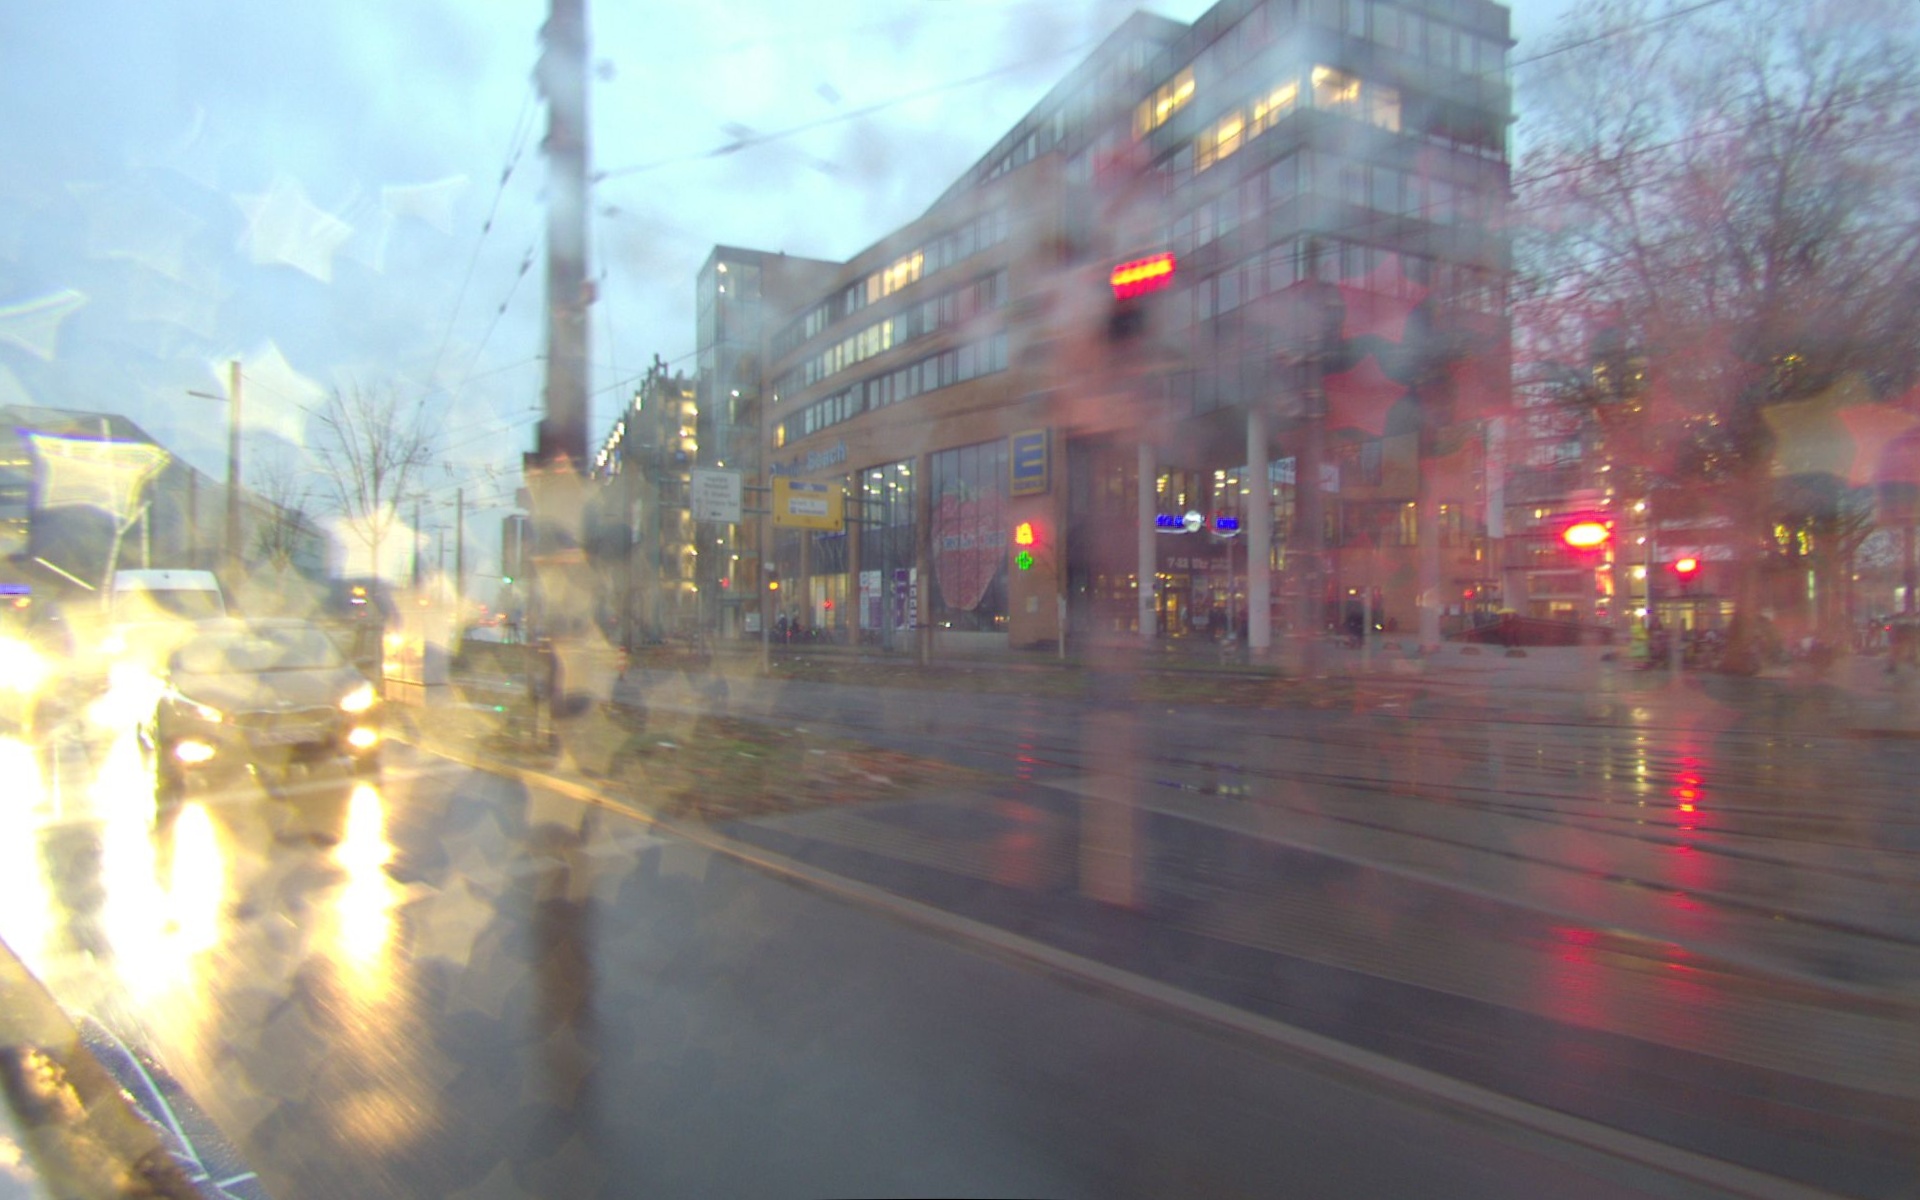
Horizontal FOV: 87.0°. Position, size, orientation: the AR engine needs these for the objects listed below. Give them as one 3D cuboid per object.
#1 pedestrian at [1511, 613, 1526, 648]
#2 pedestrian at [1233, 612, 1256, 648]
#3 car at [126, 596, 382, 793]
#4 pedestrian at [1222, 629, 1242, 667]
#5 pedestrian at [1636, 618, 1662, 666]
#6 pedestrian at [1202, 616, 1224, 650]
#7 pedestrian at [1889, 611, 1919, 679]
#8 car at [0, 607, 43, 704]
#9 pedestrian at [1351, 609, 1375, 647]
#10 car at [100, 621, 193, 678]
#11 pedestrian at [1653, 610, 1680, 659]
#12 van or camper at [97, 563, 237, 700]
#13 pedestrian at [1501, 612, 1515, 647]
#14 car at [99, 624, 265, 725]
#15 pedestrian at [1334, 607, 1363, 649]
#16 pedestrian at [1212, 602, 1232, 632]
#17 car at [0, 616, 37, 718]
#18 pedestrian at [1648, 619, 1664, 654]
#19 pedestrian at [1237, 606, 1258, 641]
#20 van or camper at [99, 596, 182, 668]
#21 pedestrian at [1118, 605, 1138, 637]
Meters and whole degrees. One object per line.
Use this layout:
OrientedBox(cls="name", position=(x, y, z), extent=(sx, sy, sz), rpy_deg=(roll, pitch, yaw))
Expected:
OrientedBox(cls="pedestrian", position=(28.055, 1.527, 50.841), extent=(0.644, 1.764, 0.446), rpy_deg=(1, -2, -43))
OrientedBox(cls="pedestrian", position=(13.216, 1.380, 46.981), extent=(0.729, 1.669, 0.695), rpy_deg=(1, -2, -34))
OrientedBox(cls="car", position=(-7.166, 0.809, 10.120), extent=(1.660, 1.585, 3.765), rpy_deg=(1, -2, -42))
OrientedBox(cls="pedestrian", position=(9.213, 1.620, 34.260), extent=(0.496, 1.274, 0.440), rpy_deg=(-1, 0, 43))
OrientedBox(cls="pedestrian", position=(24.672, 1.493, 36.249), extent=(0.592, 1.696, 0.559), rpy_deg=(-1, -1, 14))
OrientedBox(cls="pedestrian", position=(11.286, 1.456, 45.081), extent=(0.642, 1.515, 0.695), rpy_deg=(1, -2, -34))
OrientedBox(cls="pedestrian", position=(29.023, 1.365, 30.875), extent=(0.754, 2.029, 0.702), rpy_deg=(0, -1, 23))
OrientedBox(cls="car", position=(-18.851, 1.056, 19.522), extent=(1.660, 1.746, 3.718), rpy_deg=(-1, 0, -42))
OrientedBox(cls="pedestrian", position=(18.321, 1.285, 45.987), extent=(0.715, 1.721, 0.695), rpy_deg=(1, -2, -34))
OrientedBox(cls="car", position=(-22.742, 1.325, 28.237), extent=(1.798, 1.409, 3.957), rpy_deg=(-1, 0, -42))
OrientedBox(cls="pedestrian", position=(24.817, 1.213, 35.564), extent=(0.592, 1.696, 0.559), rpy_deg=(-1, -1, 14))
OrientedBox(cls="van or camper", position=(-17.225, 0.613, 21.837), extent=(2.031, 2.567, 5.893), rpy_deg=(-1, 0, -41))
OrientedBox(cls="pedestrian", position=(27.813, 1.497, 51.357), extent=(0.644, 1.764, 0.446), rpy_deg=(1, -2, -43))
OrientedBox(cls="car", position=(-12.607, 1.094, 16.286), extent=(1.798, 1.342, 4.230), rpy_deg=(-1, 0, -42))
OrientedBox(cls="pedestrian", position=(17.468, 1.256, 45.489), extent=(0.762, 1.860, 0.924), rpy_deg=(1, -2, -35))
OrientedBox(cls="pedestrian", position=(13.065, 0.862, 50.510), extent=(0.642, 1.515, 0.695), rpy_deg=(1, -2, -34))
OrientedBox(cls="car", position=(-15.707, 0.985, 15.860), extent=(1.748, 1.469, 4.225), rpy_deg=(1, -1, -43))
OrientedBox(cls="pedestrian", position=(34.075, 1.784, 49.544), extent=(0.561, 1.696, 0.589), rpy_deg=(-2, -2, 43))
OrientedBox(cls="pedestrian", position=(14.256, 1.186, 50.169), extent=(0.920, 1.721, 0.688), rpy_deg=(-1, -2, 23))
OrientedBox(cls="van or camper", position=(-29.590, 1.101, 36.622), extent=(2.152, 2.370, 5.660), rpy_deg=(-1, 0, -38))
OrientedBox(cls="pedestrian", position=(8.045, 1.016, 48.579), extent=(0.642, 1.515, 0.695), rpy_deg=(1, -2, -34))
